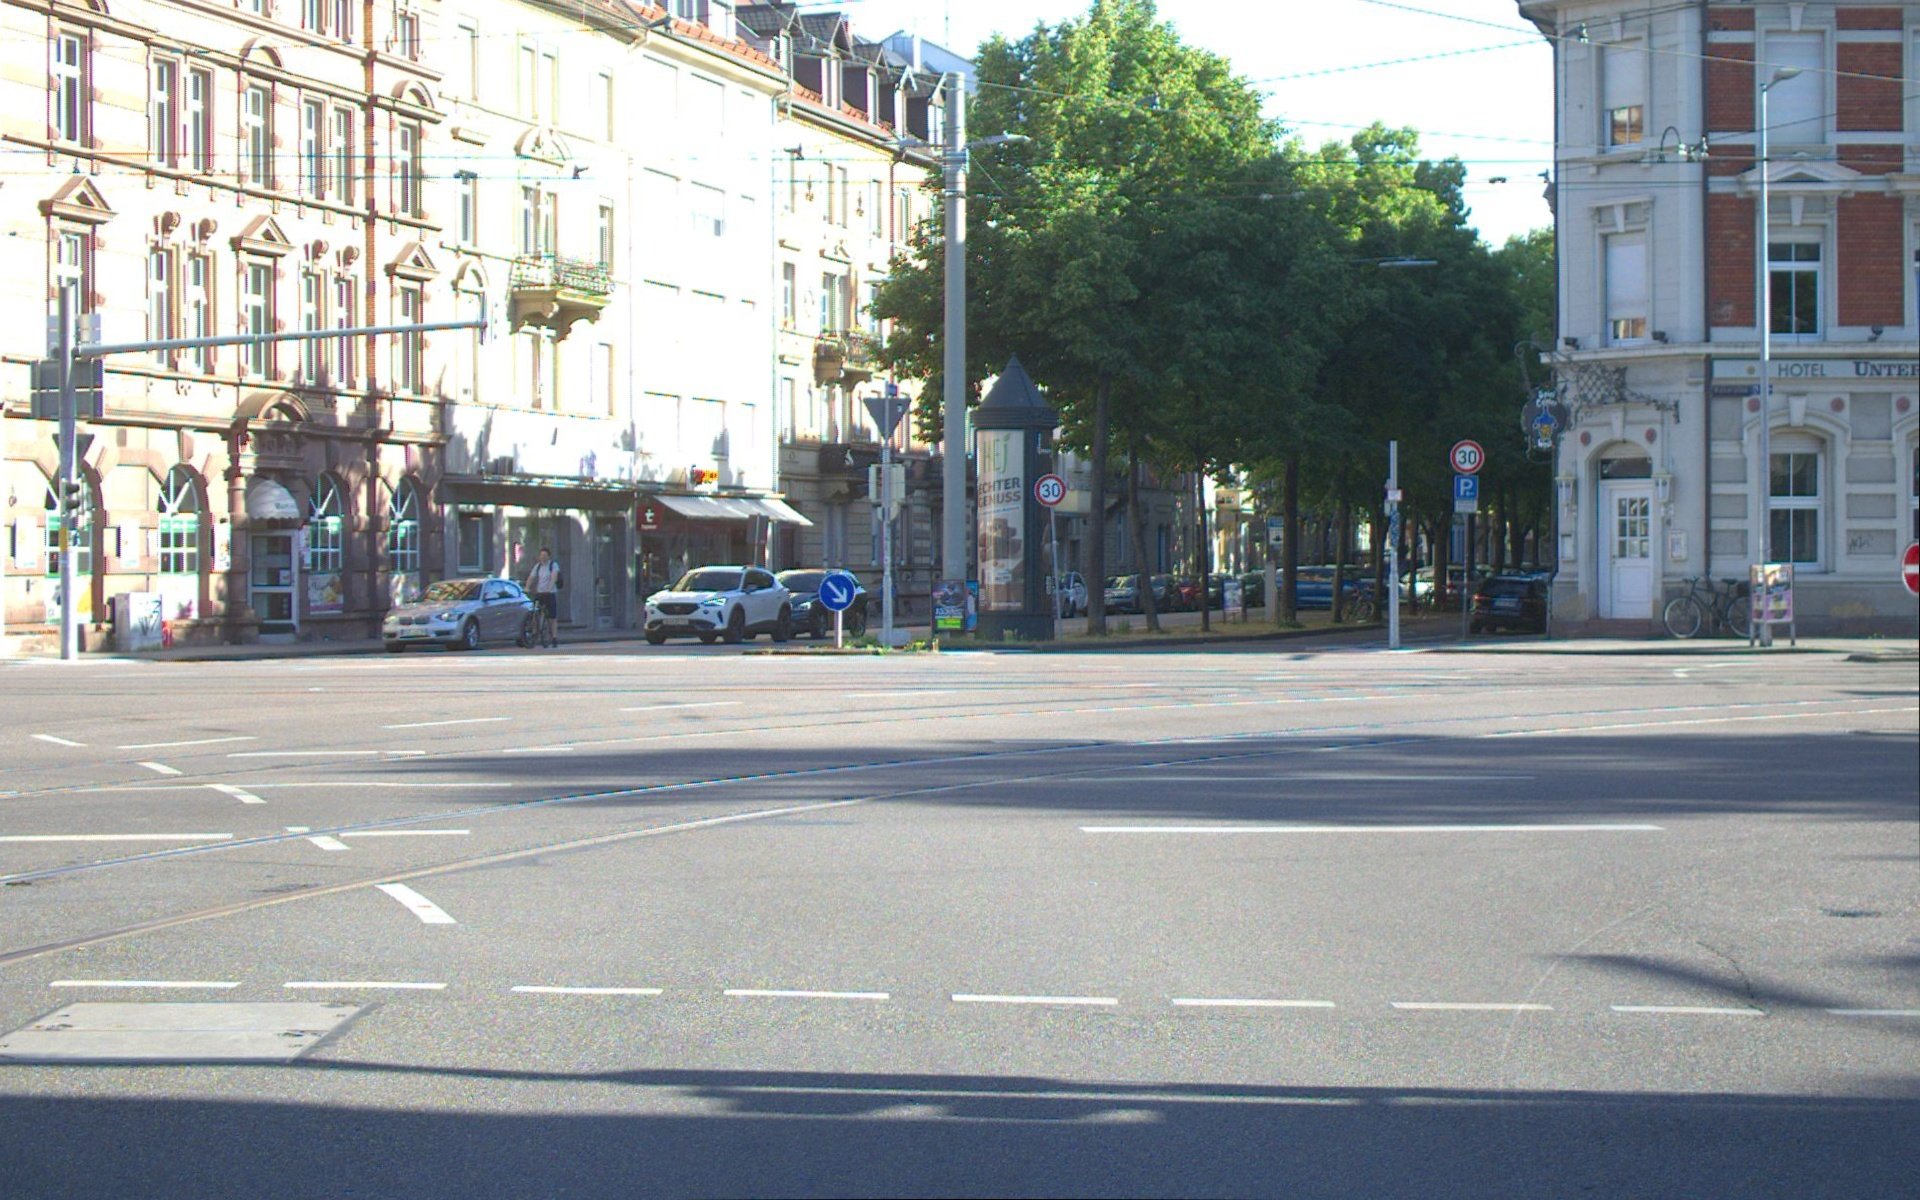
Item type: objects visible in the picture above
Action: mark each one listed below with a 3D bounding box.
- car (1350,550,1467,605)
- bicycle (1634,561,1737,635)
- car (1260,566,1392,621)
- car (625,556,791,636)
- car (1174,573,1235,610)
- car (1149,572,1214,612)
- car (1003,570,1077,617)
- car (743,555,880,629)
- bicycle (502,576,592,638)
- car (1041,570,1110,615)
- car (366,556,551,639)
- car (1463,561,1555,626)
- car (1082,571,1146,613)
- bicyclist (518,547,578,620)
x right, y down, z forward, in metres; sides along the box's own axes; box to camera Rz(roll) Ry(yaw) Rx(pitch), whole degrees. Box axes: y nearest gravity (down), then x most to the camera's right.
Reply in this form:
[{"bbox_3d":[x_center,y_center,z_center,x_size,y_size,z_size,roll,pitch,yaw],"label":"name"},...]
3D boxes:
[{"bbox_3d":[17.402,-0.881,133.434,4.115,1.912,1.744,3,1,21],"label":"car"},{"bbox_3d":[12.058,-0.036,57.144,1.639,1.218,0.606,0,1,16],"label":"bicycle"},{"bbox_3d":[12.285,-0.230,115.235,4.113,1.640,1.745,3,1,15],"label":"car"},{"bbox_3d":[-4.882,-0.105,67.174,2.098,1.494,3.998,0,1,14],"label":"car"},{"bbox_3d":[9.720,-0.353,136.395,1.742,1.393,4.121,3,1,13],"label":"car"},{"bbox_3d":[8.502,-0.317,131.617,1.742,1.393,4.121,3,1,13],"label":"car"},{"bbox_3d":[2.591,-0.220,110.010,1.741,1.393,4.122,3,1,9],"label":"car"},{"bbox_3d":[-3.133,-0.192,73.542,1.994,1.508,3.998,0,1,12],"label":"car"},{"bbox_3d":[-7.870,0.125,65.637,0.751,1.131,2.808,0,1,14],"label":"bicycle"},{"bbox_3d":[3.915,-0.259,115.815,1.741,1.393,4.122,3,1,9],"label":"car"},{"bbox_3d":[-9.781,-0.073,67.389,2.098,1.540,4.361,0,1,14],"label":"car"},{"bbox_3d":[13.163,-0.159,82.295,1.652,1.519,3.750,0,0,17],"label":"car"},{"bbox_3d":[5.501,-0.307,122.792,1.741,1.393,4.122,3,1,9],"label":"car"},{"bbox_3d":[-7.857,-0.316,65.600,0.794,1.370,1.107,0,1,14],"label":"bicyclist"}]
